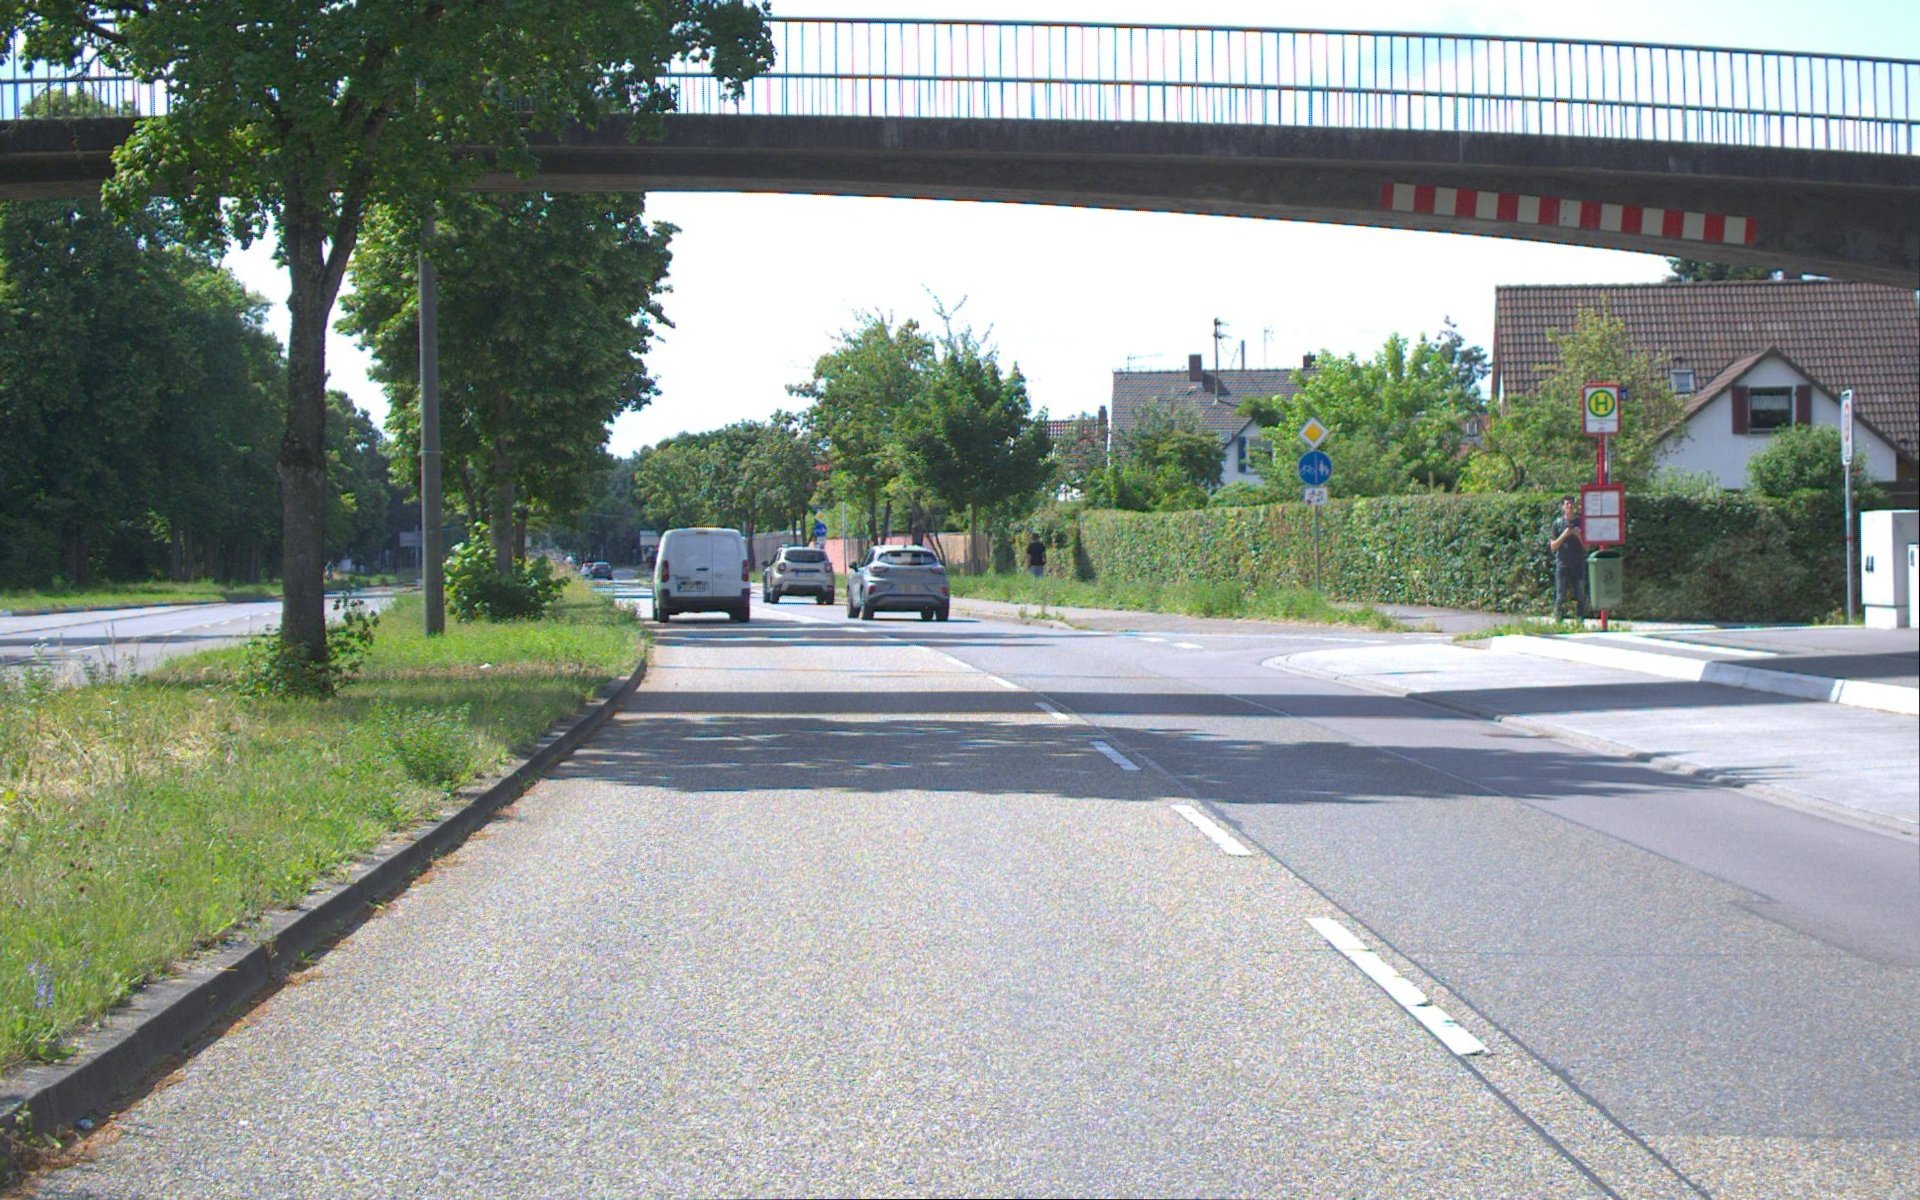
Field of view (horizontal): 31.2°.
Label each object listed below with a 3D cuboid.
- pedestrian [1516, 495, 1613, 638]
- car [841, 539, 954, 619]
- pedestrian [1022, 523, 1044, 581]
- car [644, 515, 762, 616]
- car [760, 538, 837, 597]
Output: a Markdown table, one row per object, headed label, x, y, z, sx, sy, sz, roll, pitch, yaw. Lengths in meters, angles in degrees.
| label | x | y | z | sx | sy | sz | roll | pitch | yaw |
| --- | --- | --- | --- | --- | --- | --- | --- | --- | --- |
| pedestrian | 8.003 | -0.435 | 45.574 | 0.954 | 1.818 | 1.088 | -2 | -1 | -4 |
| car | -1.317 | -0.446 | 70.473 | 1.875 | 1.583 | 4.185 | -1 | 1 | -7 |
| pedestrian | 2.122 | -1.390 | 99.861 | 0.560 | 1.671 | 0.634 | 0 | 1 | -8 |
| car | -5.106 | -0.698 | 67.802 | 2.065 | 1.905 | 4.647 | 0 | 1 | -7 |
| car | -4.640 | -0.926 | 98.219 | 1.875 | 1.646 | 4.001 | -1 | 1 | -7 |
